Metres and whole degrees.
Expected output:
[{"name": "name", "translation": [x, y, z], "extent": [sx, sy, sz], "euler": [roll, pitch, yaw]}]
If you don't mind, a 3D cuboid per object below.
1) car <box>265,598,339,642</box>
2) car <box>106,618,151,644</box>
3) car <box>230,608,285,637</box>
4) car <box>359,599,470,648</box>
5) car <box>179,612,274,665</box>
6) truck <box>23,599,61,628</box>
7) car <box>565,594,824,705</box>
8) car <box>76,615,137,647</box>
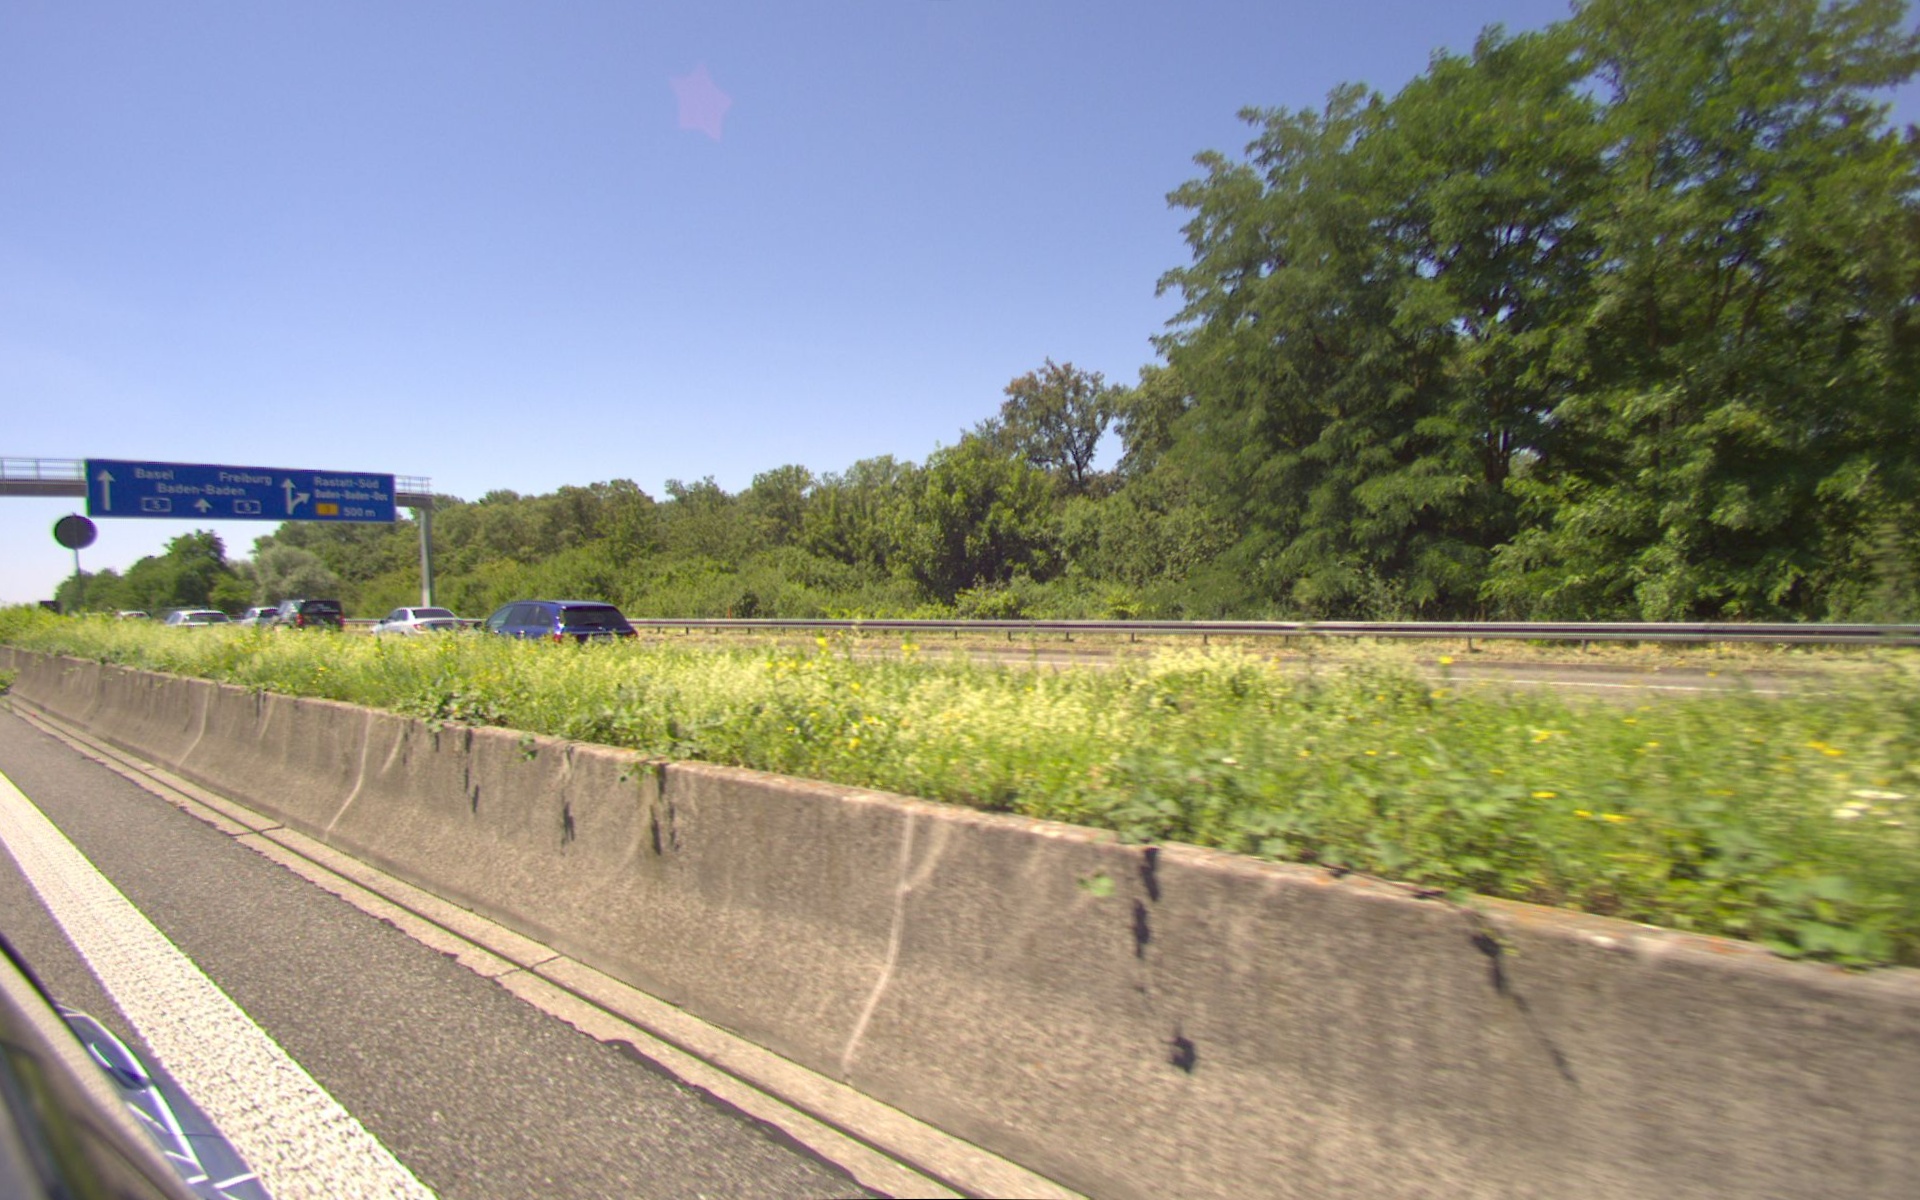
[{"name": "car", "translation": [-29.768, 0.872, 45.719], "extent": [4.888, 1.857, 1.678], "euler": [-1, 0, 43]}, {"name": "car", "translation": [-53.282, 1.944, 64.830], "extent": [3.998, 1.586, 1.618], "euler": [-1, -1, 41]}, {"name": "car", "translation": [-39.492, 1.262, 56.864], "extent": [4.080, 1.566, 1.554], "euler": [-1, -1, 41]}, {"name": "car", "translation": [-17.822, 0.750, 32.978], "extent": [4.718, 1.486, 1.679], "euler": [-1, 0, 42]}, {"name": "car", "translation": [-22.677, 1.148, 31.258], "extent": [3.999, 1.497, 1.550], "euler": [-1, 0, 42]}, {"name": "truck", "translation": [-138.422, 2.062, 152.514], "extent": [14.498, 4.262, 3.143], "euler": [-1, -1, 44]}, {"name": "car", "translation": [-3.979, 0.661, 14.867], "extent": [3.996, 1.408, 1.633], "euler": [-1, 0, 39]}, {"name": "car", "translation": [-39.866, 1.408, 47.251], "extent": [3.642, 1.392, 1.680], "euler": [-1, 0, 41]}]
